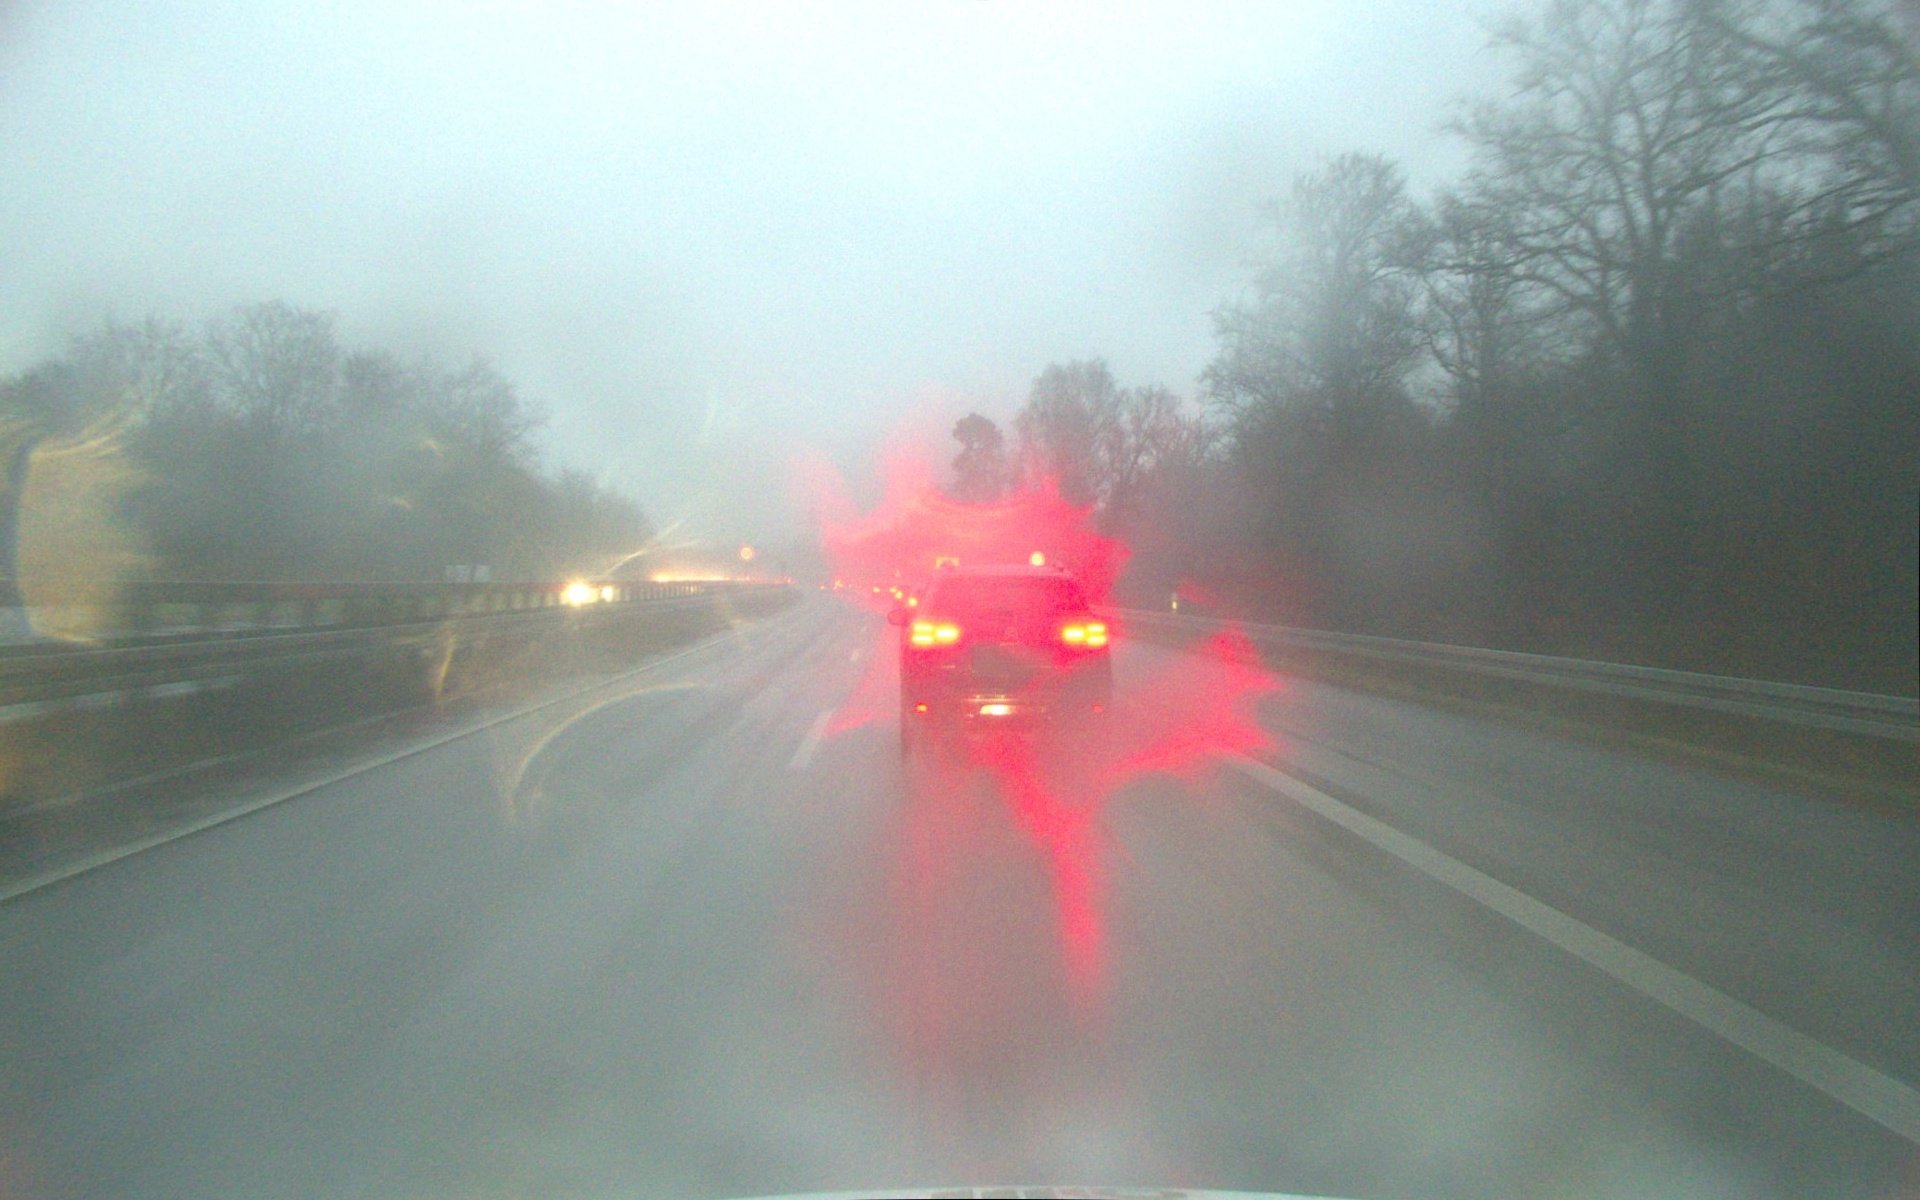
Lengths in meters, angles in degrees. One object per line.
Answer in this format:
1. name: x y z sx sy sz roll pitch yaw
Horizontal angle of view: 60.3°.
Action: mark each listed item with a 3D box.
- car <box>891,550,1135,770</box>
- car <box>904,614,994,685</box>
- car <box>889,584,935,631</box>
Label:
1. car: 0.354 0.474 15.188 1.952 1.745 3.828 1 0 -2
2. car: -0.229 1.125 38.893 1.953 1.445 4.000 2 0 0
3. car: -2.153 0.310 73.491 1.954 2.049 3.998 1 0 -3
